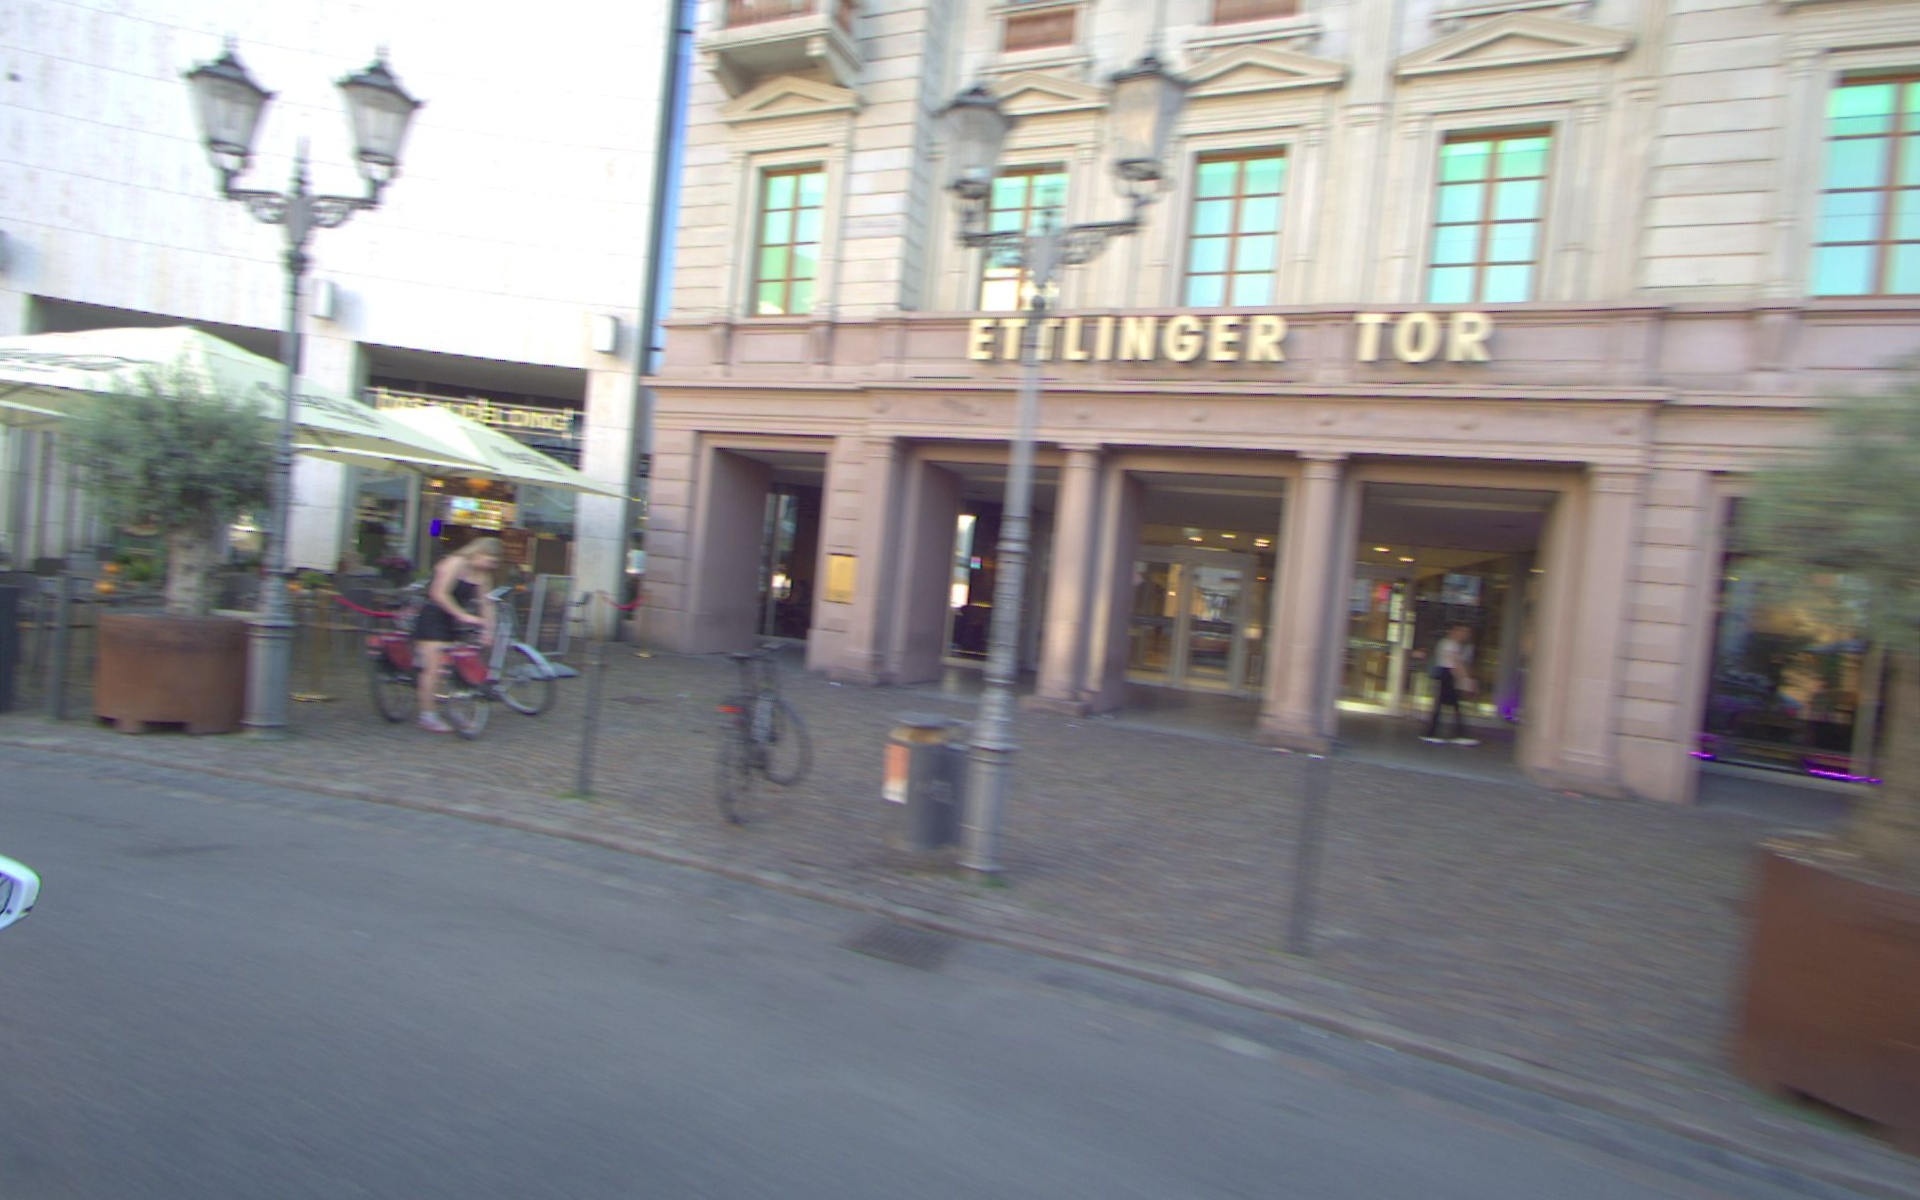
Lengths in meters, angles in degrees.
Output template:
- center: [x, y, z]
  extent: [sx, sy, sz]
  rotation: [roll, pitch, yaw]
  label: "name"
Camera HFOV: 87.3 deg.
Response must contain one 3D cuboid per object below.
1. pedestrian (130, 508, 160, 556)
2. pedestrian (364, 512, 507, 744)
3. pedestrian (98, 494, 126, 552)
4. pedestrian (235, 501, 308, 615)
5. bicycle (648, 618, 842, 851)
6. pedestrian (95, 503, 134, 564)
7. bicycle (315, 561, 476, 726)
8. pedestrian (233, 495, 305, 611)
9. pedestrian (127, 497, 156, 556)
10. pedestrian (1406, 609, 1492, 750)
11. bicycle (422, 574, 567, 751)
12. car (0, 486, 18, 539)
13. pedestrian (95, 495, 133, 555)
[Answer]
- center: [-25.044, -2.099, 30.919]
  extent: [0.630, 1.364, 0.766]
  rotation: [4, 3, -39]
  label: "pedestrian"
- center: [-3.904, 0.205, 7.548]
  extent: [0.739, 1.609, 0.711]
  rotation: [5, 2, -21]
  label: "pedestrian"
- center: [-26.463, -2.411, 31.396]
  extent: [0.588, 1.721, 0.688]
  rotation: [4, 2, -40]
  label: "pedestrian"
- center: [-11.354, -0.687, 16.611]
  extent: [0.707, 1.768, 0.667]
  rotation: [5, 2, -15]
  label: "pedestrian"
- center: [-1.311, 0.767, 6.542]
  extent: [0.596, 1.143, 1.904]
  rotation: [6, 3, 5]
  label: "bicycle"
- center: [-25.103, -1.984, 29.877]
  extent: [0.761, 1.704, 0.867]
  rotation: [4, 4, -39]
  label: "pedestrian"
- center: [-4.666, 0.300, 8.454]
  extent: [0.597, 1.143, 1.899]
  rotation: [5, 3, -13]
  label: "bicycle"
- center: [-11.851, -0.799, 17.276]
  extent: [0.707, 1.886, 0.667]
  rotation: [5, 2, -15]
  label: "pedestrian"
- center: [-26.460, -2.372, 32.524]
  extent: [0.630, 1.798, 0.766]
  rotation: [4, 4, -39]
  label: "pedestrian"
- center: [6.646, 1.061, 13.706]
  extent: [0.856, 1.770, 0.715]
  rotation: [7, 2, 25]
  label: "pedestrian"
- center: [-3.666, 0.429, 8.072]
  extent: [0.597, 1.143, 1.899]
  rotation: [5, 3, -13]
  label: "bicycle"
- center: [-32.232, -2.909, 32.850]
  extent: [1.756, 1.660, 4.015]
  rotation: [1, 3, -38]
  label: "car"
- center: [-25.831, -2.285, 30.721]
  extent: [0.761, 1.704, 0.867]
  rotation: [4, 4, -39]
  label: "pedestrian"
